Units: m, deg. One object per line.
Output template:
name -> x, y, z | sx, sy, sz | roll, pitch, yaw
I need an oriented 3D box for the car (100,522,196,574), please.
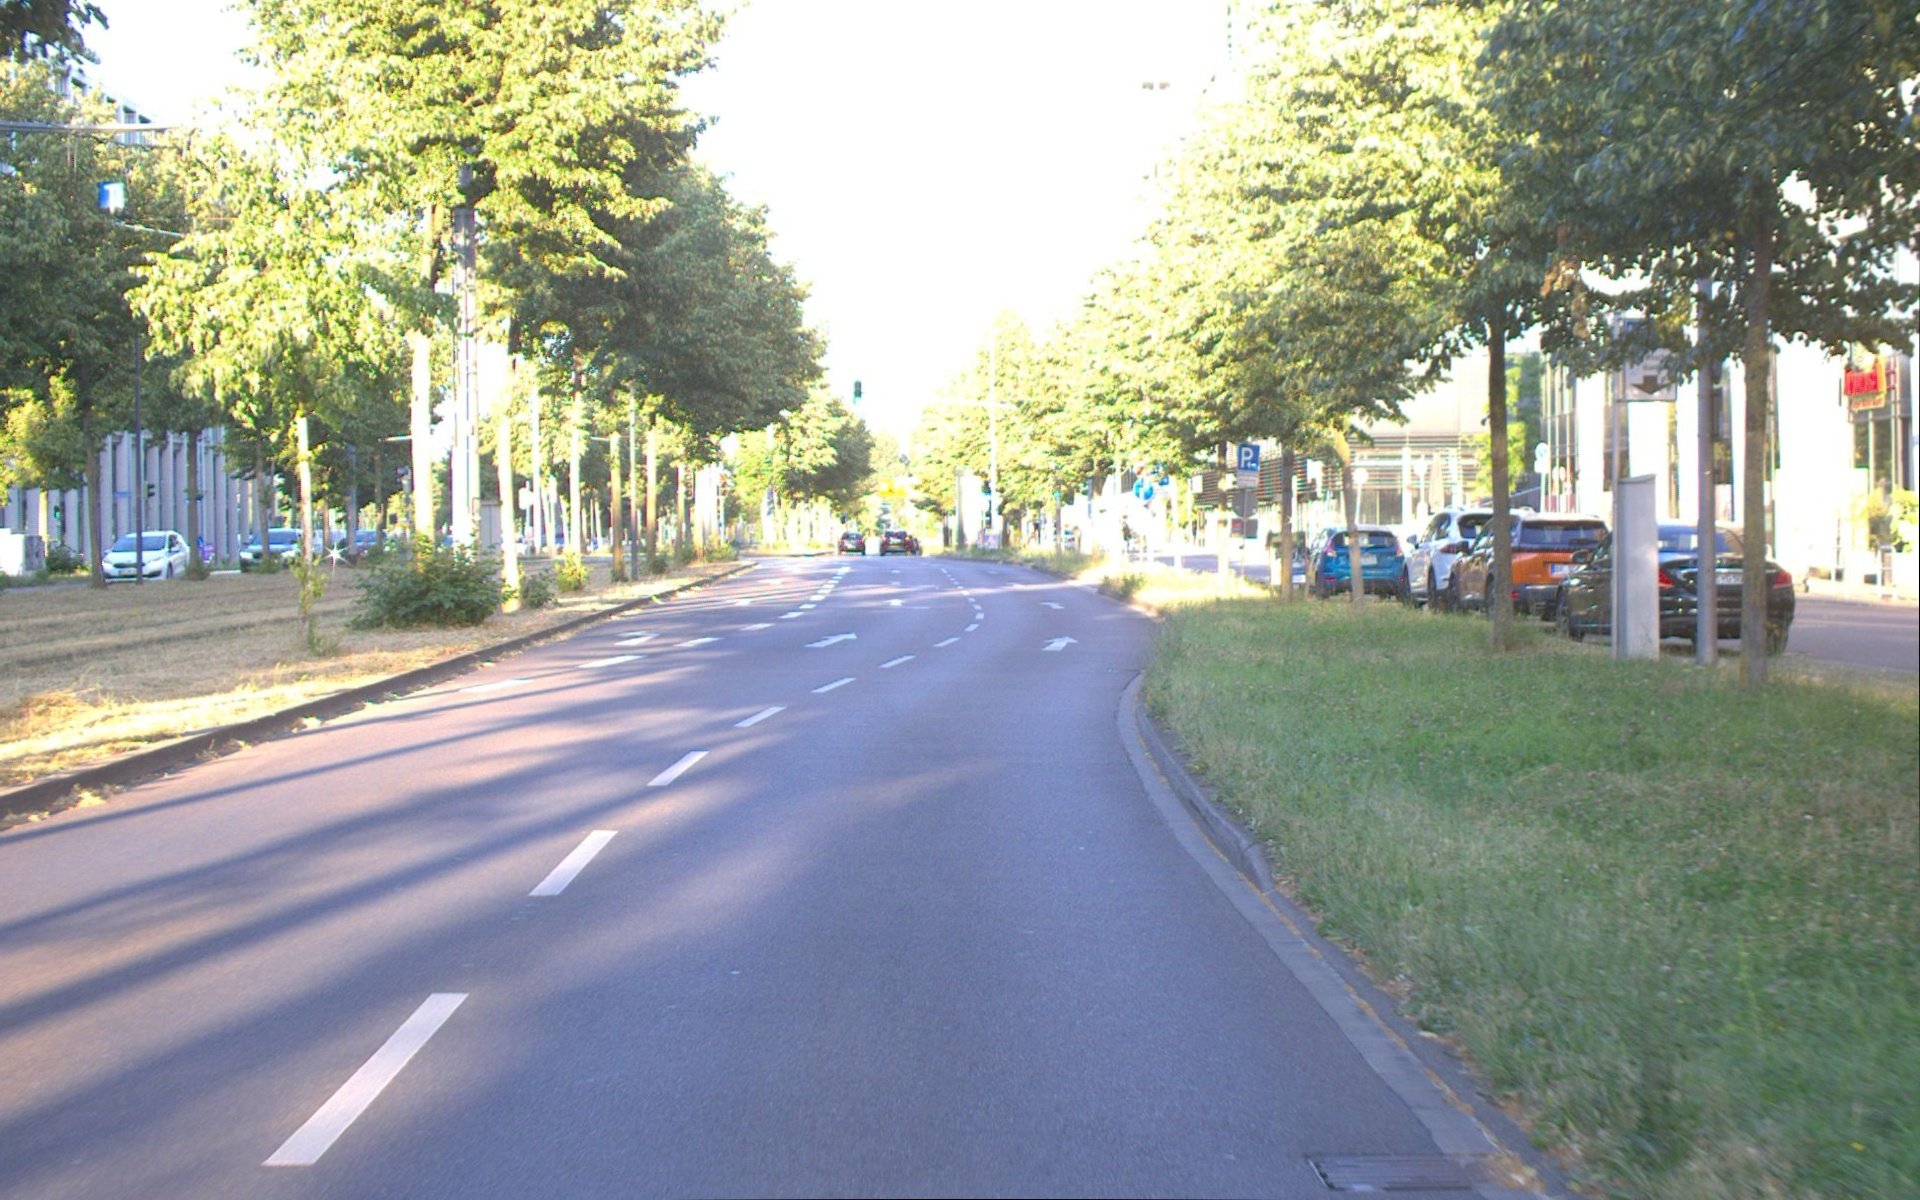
car -> -21.585, -1.409, 91.550 | 1.657, 1.327, 4.531 | -1, 1, -3

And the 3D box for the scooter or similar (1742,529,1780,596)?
scooter or similar -> 14.621, -0.691, 62.748 | 0.356, 1.183, 1.310 | -2, 1, 0

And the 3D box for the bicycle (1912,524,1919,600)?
bicycle -> 14.623, -0.571, 51.361 | 0.571, 1.120, 1.833 | -2, 2, 10

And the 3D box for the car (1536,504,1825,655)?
car -> 7.879, -0.261, 38.060 | 1.943, 1.543, 4.813 | -1, 1, -3

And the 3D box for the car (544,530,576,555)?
car -> -25.977, -3.768, 223.362 | 1.728, 1.584, 3.515 | -1, 1, -1

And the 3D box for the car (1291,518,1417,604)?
car -> 7.292, -0.742, 63.974 | 1.724, 1.524, 4.269 | 1, 1, -1

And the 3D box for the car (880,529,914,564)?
car -> -3.723, -3.171, 202.696 | 1.993, 2.007, 4.001 | 0, 2, -2

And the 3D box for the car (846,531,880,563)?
car -> -6.164, -3.373, 217.836 | 2.087, 2.007, 4.001 | 0, 2, -2

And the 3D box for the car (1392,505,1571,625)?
car -> 7.918, -0.564, 52.671 | 1.951, 1.708, 5.159 | 1, 1, 0

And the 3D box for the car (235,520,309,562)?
car -> -22.484, -1.932, 112.504 | 1.657, 1.327, 4.742 | -1, 1, -3

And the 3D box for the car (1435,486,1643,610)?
car -> 7.536, -0.695, 45.146 | 1.854, 1.524, 4.483 | 1, 1, -1
